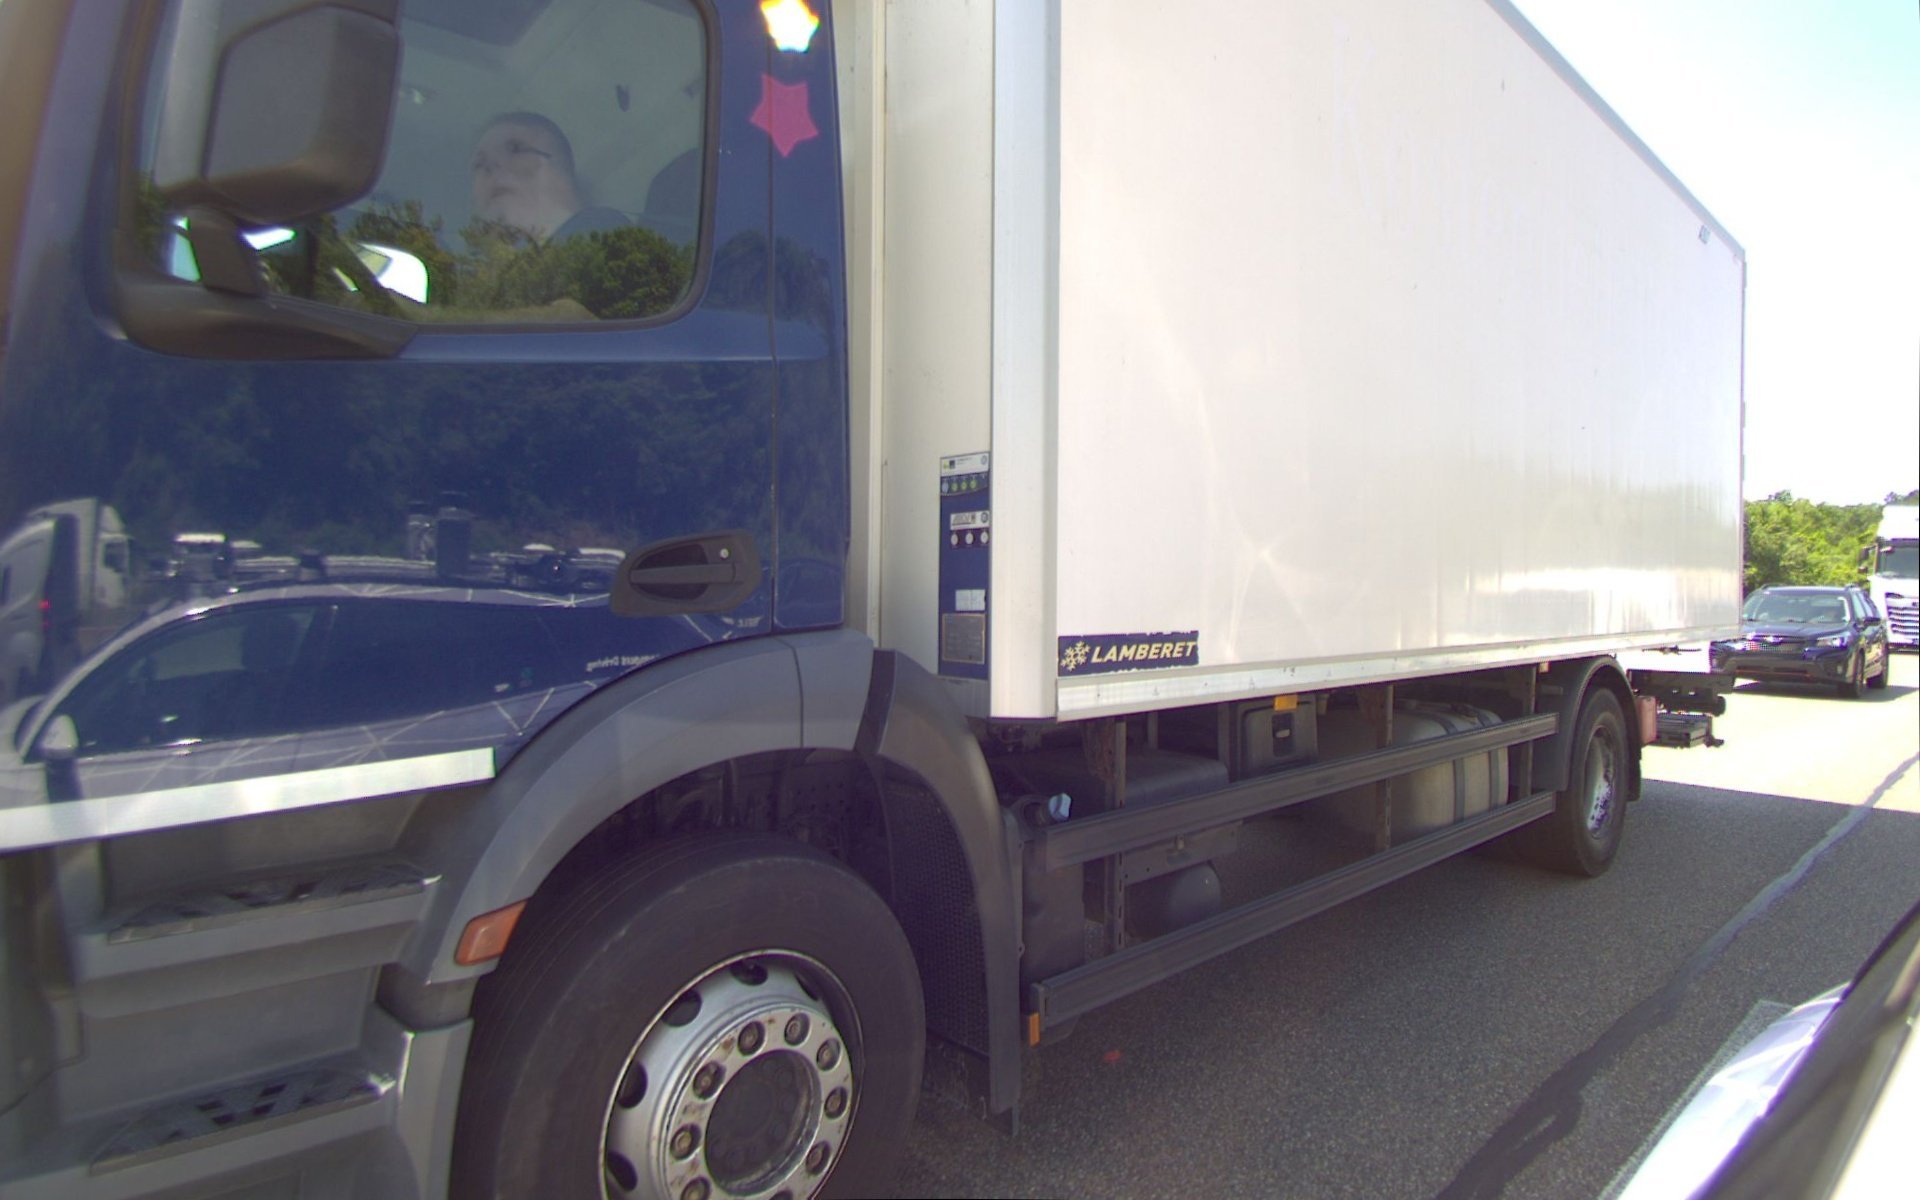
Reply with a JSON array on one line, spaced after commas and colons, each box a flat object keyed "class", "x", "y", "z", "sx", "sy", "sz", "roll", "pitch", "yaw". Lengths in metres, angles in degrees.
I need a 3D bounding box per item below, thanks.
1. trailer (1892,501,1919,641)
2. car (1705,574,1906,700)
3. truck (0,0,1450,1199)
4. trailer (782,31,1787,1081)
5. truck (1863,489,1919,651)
[{"class": "trailer", "x": 33.126, "y": -0.923, "z": 32.958, "sx": 11.416, "sy": 4.133, "sz": 2.765, "roll": -1, "pitch": 3, "yaw": -41}, {"class": "car", "x": 13.881, "y": 0.463, "z": 16.516, "sx": 4.535, "sy": 1.713, "sz": 1.996, "roll": -1, "pitch": 3, "yaw": -44}, {"class": "truck", "x": -0.610, "y": -0.100, "z": 3.181, "sx": 4.035, "sy": 2.977, "sz": 2.559, "roll": -1, "pitch": 2, "yaw": -43}, {"class": "trailer", "x": 2.879, "y": -0.153, "z": 6.404, "sx": 7.747, "sy": 2.935, "sz": 2.559, "roll": 0, "pitch": 1, "yaw": -42}, {"class": "truck", "x": 27.509, "y": -0.831, "z": 28.056, "sx": 7.206, "sy": 4.135, "sz": 2.765, "roll": -1, "pitch": 1, "yaw": -41}]
